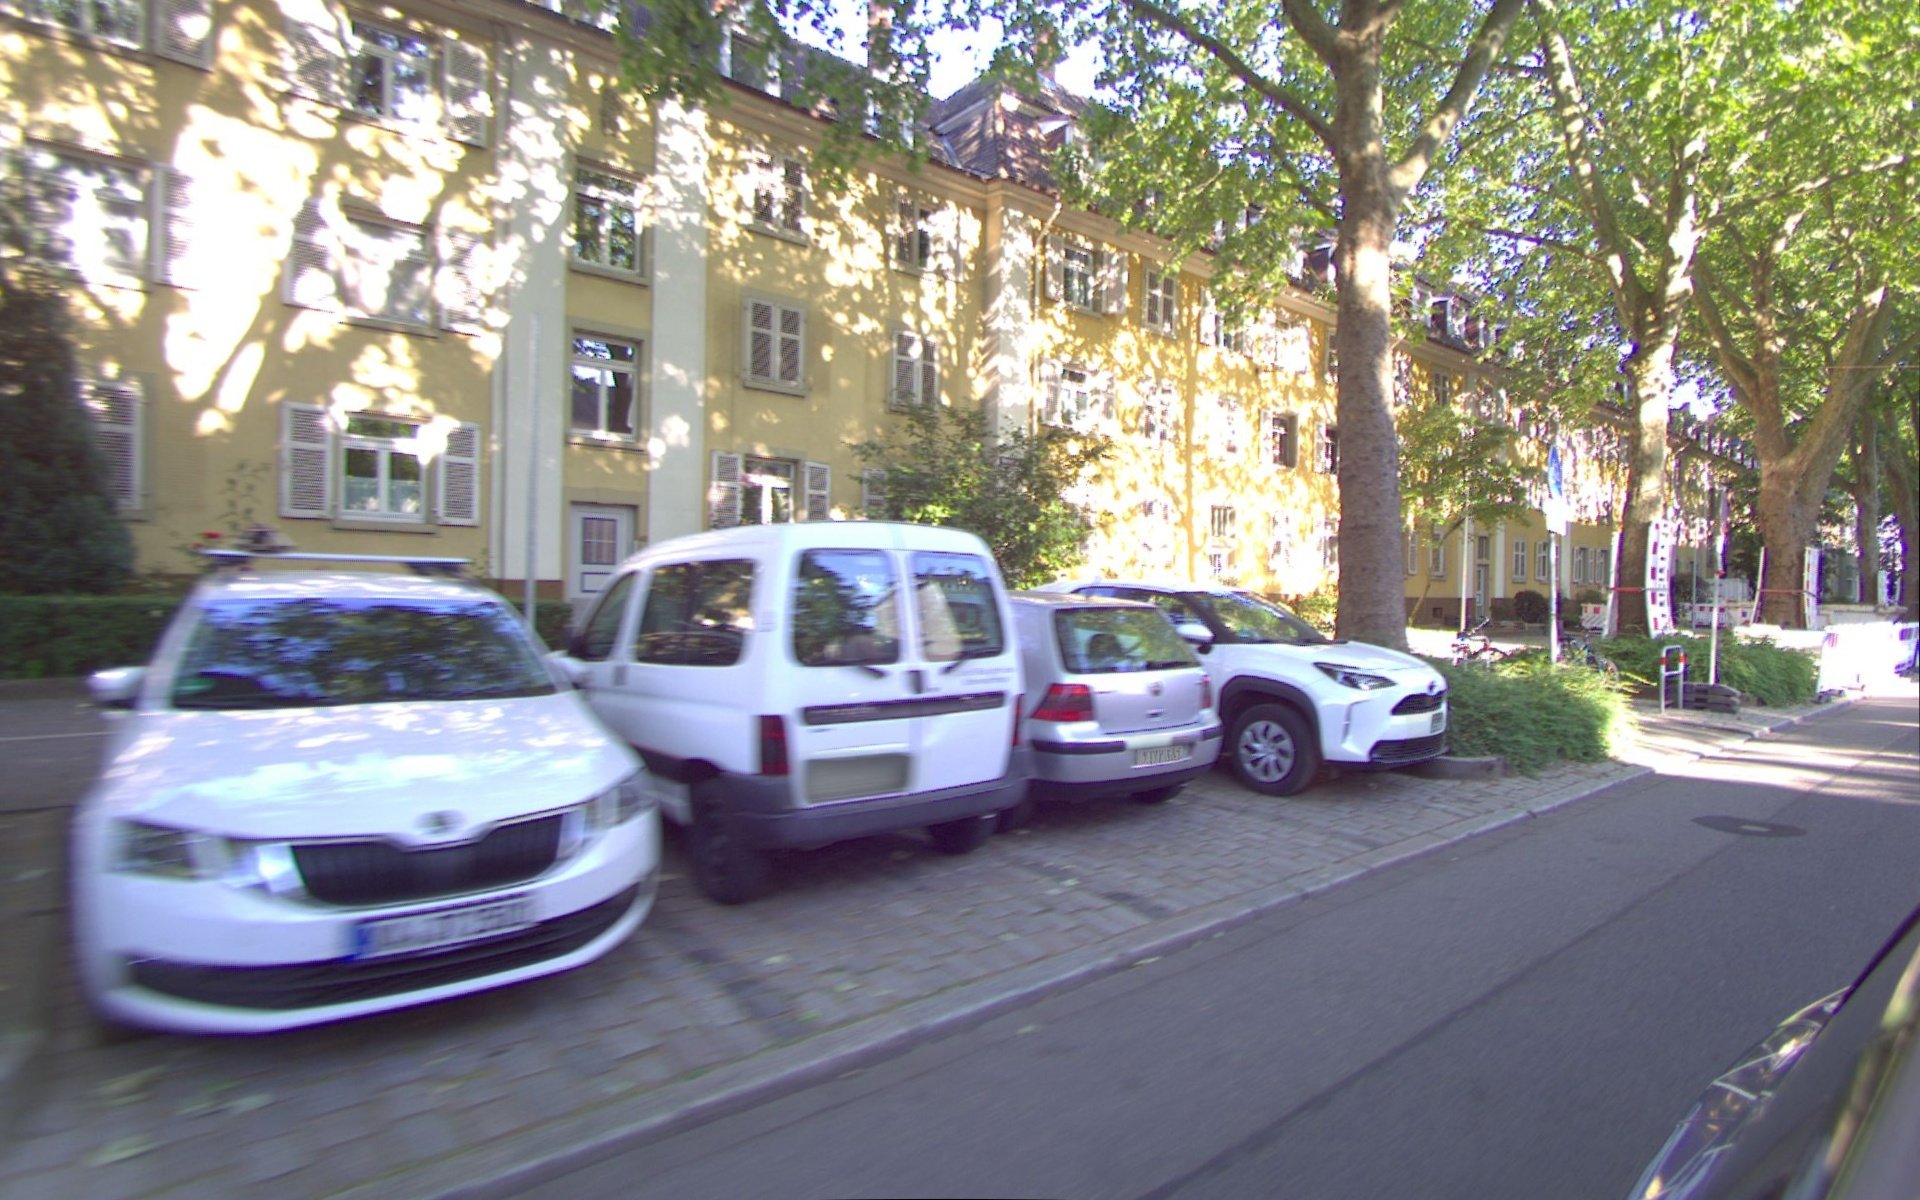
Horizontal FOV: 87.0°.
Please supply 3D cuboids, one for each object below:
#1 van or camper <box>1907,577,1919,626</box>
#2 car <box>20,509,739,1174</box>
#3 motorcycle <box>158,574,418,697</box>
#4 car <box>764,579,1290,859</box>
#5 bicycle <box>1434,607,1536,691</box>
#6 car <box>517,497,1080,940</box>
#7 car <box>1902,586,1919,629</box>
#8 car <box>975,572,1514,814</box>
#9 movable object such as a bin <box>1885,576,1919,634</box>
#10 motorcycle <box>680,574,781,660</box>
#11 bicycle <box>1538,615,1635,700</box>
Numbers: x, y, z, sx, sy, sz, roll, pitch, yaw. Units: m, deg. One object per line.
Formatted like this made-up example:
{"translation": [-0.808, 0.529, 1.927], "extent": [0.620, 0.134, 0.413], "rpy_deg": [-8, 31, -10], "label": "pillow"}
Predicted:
{"translation": [54.847, 0.157, 54.041], "extent": [2.228, 2.662, 5.942], "rpy_deg": [-1, 2, -38], "label": "van or camper"}
{"translation": [-2.760, 0.532, 4.683], "extent": [1.767, 1.561, 4.384], "rpy_deg": [1, 0, -36], "label": "car"}
{"translation": [-7.056, 0.338, 10.716], "extent": [2.224, 1.167, 0.716], "rpy_deg": [0, 2, -41], "label": "motorcycle"}
{"translation": [0.224, 0.597, 7.433], "extent": [1.817, 1.450, 3.856], "rpy_deg": [0, 1, -36], "label": "car"}
{"translation": [7.944, 0.697, 15.273], "extent": [1.914, 1.169, 0.692], "rpy_deg": [0, 1, -41], "label": "bicycle"}
{"translation": [-1.274, 0.438, 6.223], "extent": [1.880, 1.794, 3.856], "rpy_deg": [0, 1, -36], "label": "car"}
{"translation": [47.873, 0.420, 47.695], "extent": [2.027, 2.038, 4.845], "rpy_deg": [1, 1, -40], "label": "car"}
{"translation": [2.179, 0.542, 8.642], "extent": [1.883, 1.540, 4.095], "rpy_deg": [-1, 2, -41], "label": "car"}
{"translation": [40.097, 0.215, 41.433], "extent": [3.210, 2.297, 1.488], "rpy_deg": [1, 0, -6], "label": "movable object such as a bin"}
{"translation": [-3.639, 0.236, 15.951], "extent": [0.701, 1.265, 1.993], "rpy_deg": [0, 1, -41], "label": "motorcycle"}
{"translation": [8.751, 0.768, 14.108], "extent": [1.777, 1.084, 0.636], "rpy_deg": [0, 1, -41], "label": "bicycle"}
